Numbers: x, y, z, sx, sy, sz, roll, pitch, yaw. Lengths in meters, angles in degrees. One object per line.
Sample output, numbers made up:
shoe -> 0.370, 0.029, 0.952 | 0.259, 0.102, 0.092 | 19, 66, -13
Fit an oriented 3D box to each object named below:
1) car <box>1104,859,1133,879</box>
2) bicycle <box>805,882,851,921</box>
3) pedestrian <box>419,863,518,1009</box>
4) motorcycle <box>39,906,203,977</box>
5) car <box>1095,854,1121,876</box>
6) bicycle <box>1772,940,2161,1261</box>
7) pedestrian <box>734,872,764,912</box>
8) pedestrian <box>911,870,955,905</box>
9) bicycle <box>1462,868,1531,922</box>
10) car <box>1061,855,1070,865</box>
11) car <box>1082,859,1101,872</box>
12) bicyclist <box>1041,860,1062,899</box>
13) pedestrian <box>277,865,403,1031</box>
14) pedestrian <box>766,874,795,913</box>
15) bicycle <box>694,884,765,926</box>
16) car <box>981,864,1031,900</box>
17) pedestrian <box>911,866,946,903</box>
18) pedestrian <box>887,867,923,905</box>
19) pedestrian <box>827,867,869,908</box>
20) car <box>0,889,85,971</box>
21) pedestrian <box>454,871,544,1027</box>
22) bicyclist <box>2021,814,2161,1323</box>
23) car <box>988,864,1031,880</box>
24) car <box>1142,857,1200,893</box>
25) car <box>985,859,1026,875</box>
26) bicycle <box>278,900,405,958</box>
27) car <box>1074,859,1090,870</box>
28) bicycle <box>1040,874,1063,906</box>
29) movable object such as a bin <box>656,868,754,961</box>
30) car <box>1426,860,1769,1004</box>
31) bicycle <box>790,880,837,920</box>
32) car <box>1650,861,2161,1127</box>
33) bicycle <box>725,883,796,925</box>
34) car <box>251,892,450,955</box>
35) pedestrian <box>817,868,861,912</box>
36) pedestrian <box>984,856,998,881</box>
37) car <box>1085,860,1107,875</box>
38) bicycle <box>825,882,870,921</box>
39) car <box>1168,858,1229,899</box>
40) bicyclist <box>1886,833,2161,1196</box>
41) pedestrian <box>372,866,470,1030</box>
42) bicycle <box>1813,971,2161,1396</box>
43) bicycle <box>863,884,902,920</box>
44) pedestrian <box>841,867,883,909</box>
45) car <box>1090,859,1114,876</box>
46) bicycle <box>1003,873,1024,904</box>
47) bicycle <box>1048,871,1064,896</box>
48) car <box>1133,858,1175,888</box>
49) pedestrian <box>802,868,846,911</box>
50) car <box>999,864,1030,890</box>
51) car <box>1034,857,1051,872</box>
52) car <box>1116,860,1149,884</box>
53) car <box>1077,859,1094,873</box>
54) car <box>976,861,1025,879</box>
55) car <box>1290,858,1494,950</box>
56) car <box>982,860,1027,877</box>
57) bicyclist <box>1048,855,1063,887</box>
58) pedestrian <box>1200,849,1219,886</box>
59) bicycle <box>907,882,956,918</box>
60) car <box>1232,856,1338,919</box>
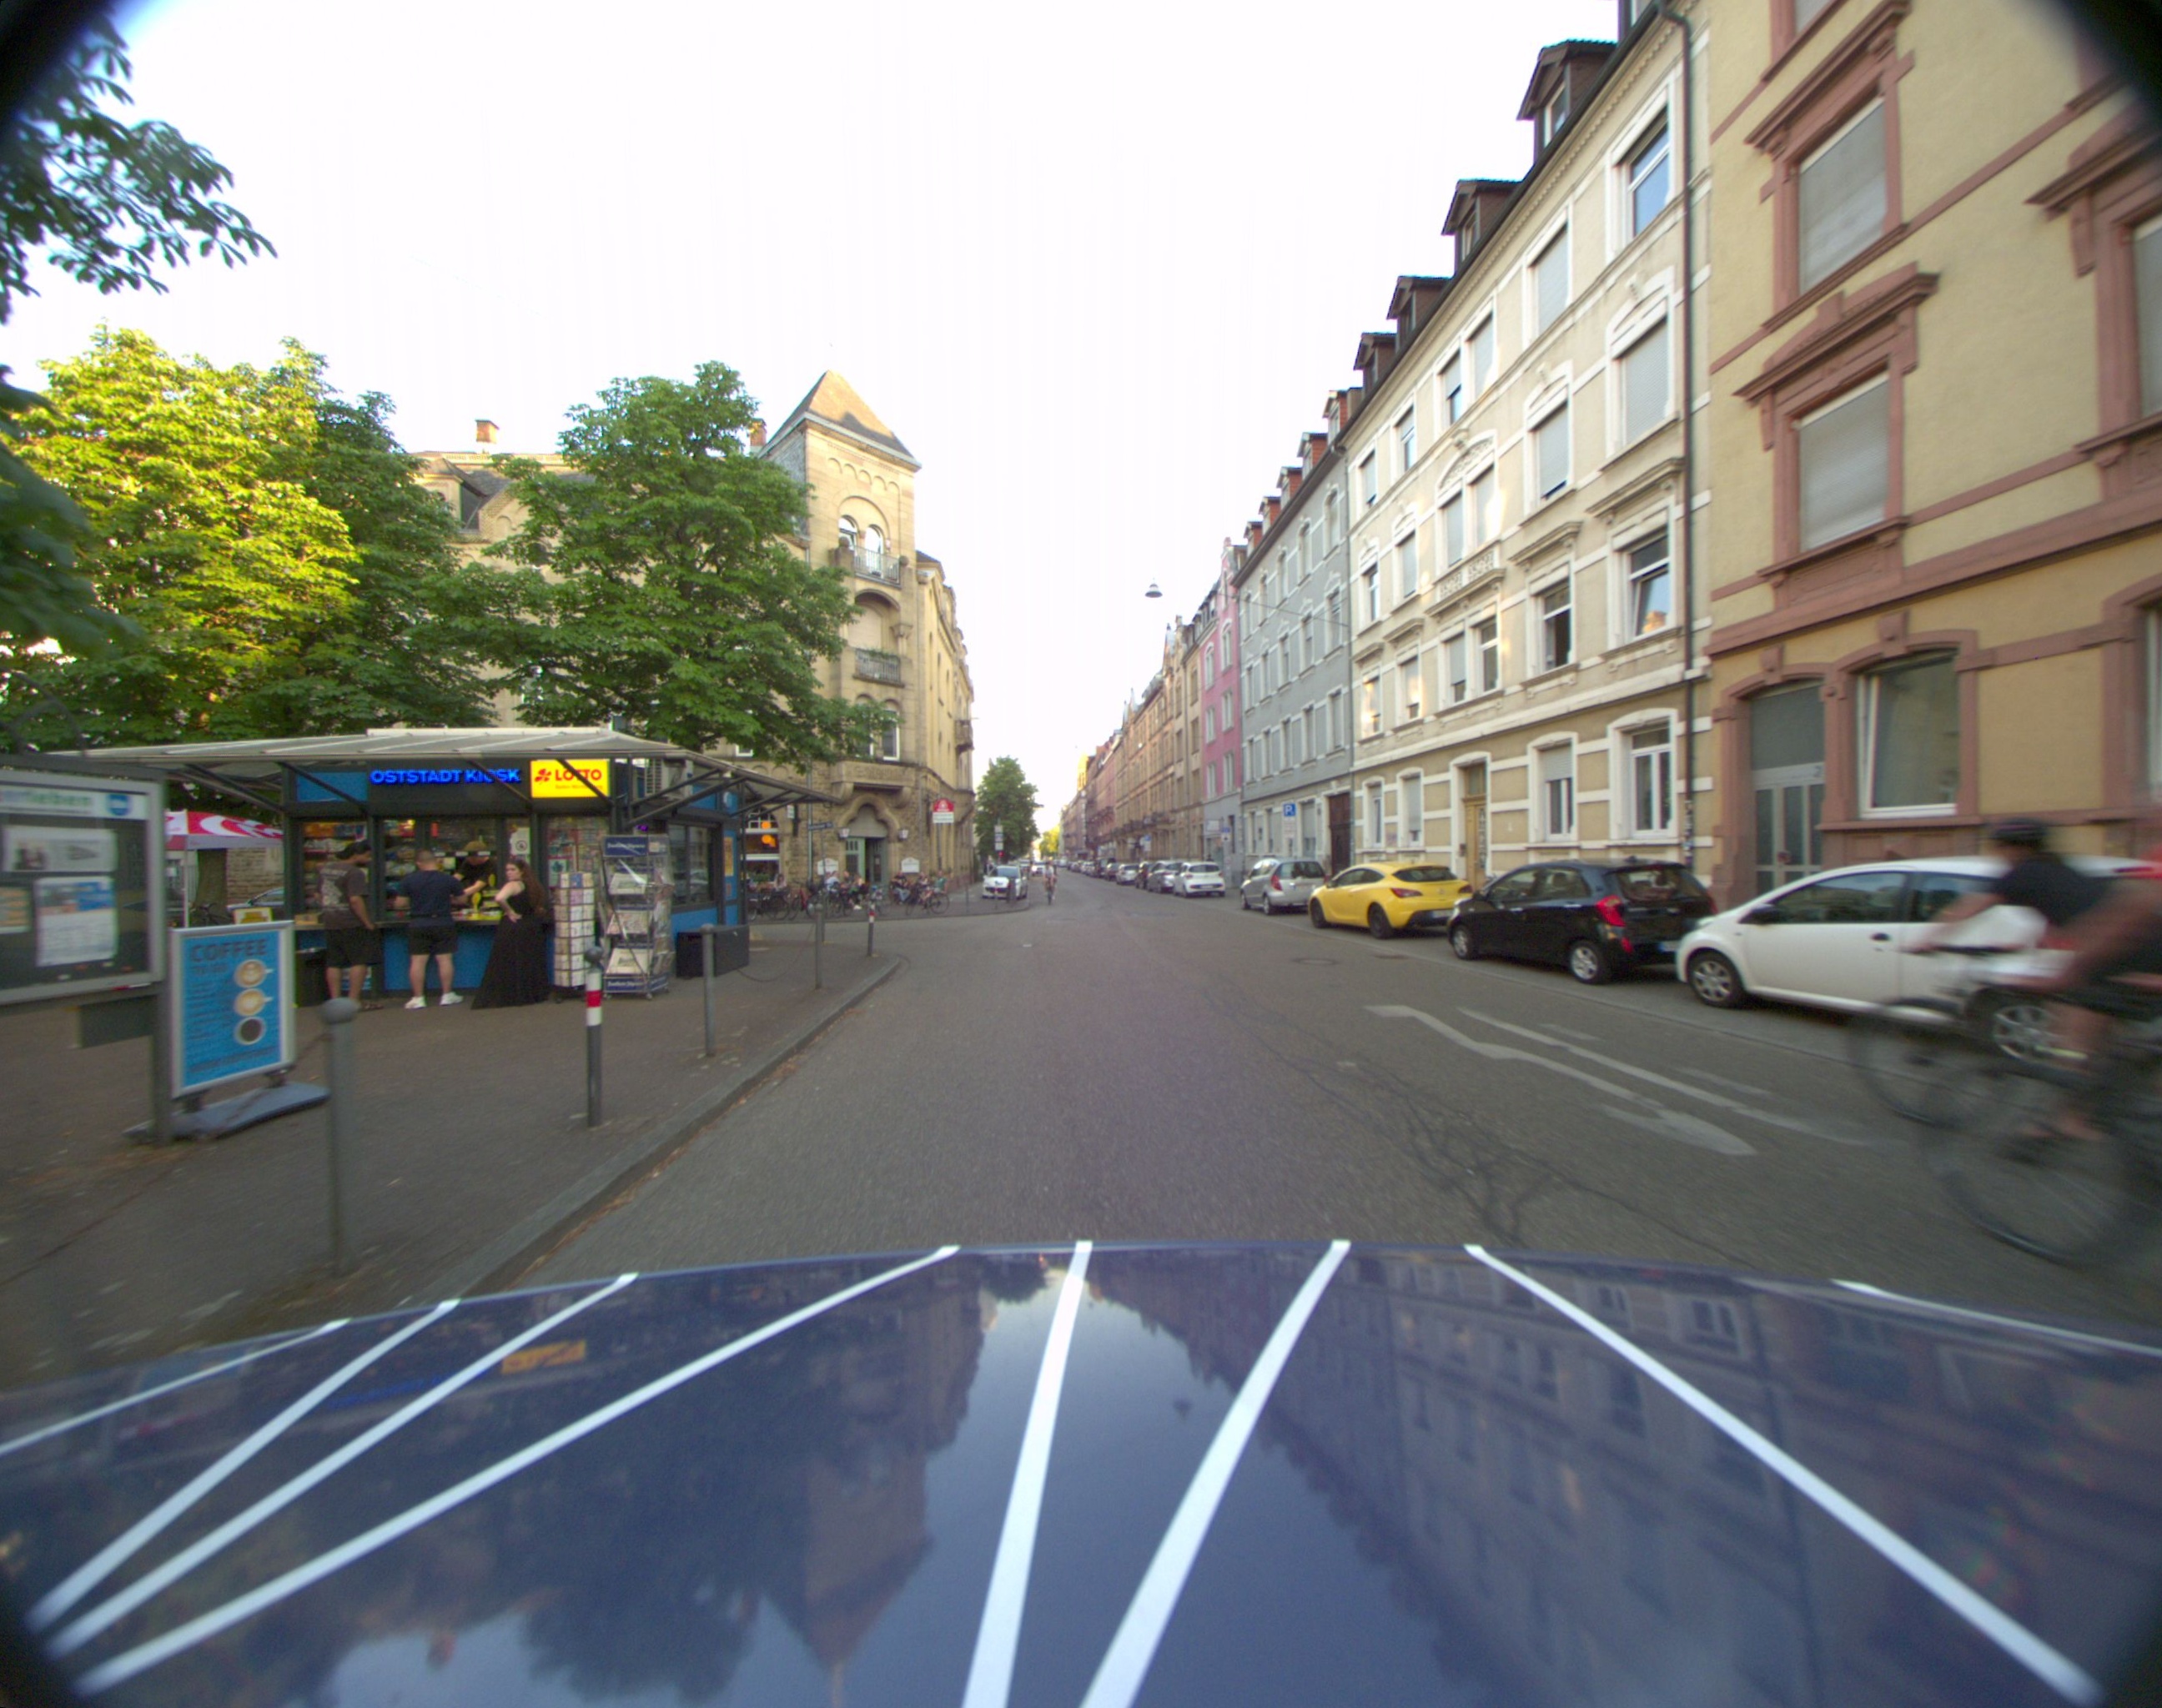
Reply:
car -> 3.091, 1.221, 62.797 | 1.758, 1.466, 4.278 | -7, 0, -4
bicycle -> -7.583, 1.414, 22.827 | 0.475, 1.064, 1.836 | -1, 0, 10
pedestrian -> -7.174, 0.933, 8.927 | 0.678, 1.627, 0.590 | -1, 1, -11
motorcycle -> -15.622, 1.419, 12.388 | 1.832, 1.048, 0.579 | -1, 1, -2
car -> 2.543, 1.059, 72.339 | 1.874, 1.949, 4.291 | -4, 0, -5
bicycle -> 4.672, 1.085, 3.690 | 0.723, 1.100, 2.014 | -1, 0, -3
pedestrian -> -11.258, 1.276, 25.808 | 0.731, 1.313, 0.667 | -1, 0, -7
pedestrian -> -5.585, 1.245, 28.732 | 0.839, 1.278, 1.422 | 1, 0, 44
bicycle -> 9.471, 0.904, 17.390 | 0.481, 1.133, 1.863 | -1, 0, -2
car -> -3.889, 1.455, 187.758 | 1.758, 2.264, 4.056 | -7, 0, -3
car -> 1.284, 1.398, 94.103 | 1.758, 1.426, 4.055 | -7, 0, -6
bicyclist -> -1.166, 1.006, 30.241 | 0.686, 1.503, 0.973 | -1, 0, 3
pedestrian -> -7.626, 0.942, 7.849 | 0.678, 1.627, 0.590 | -1, 1, -4
pedestrian -> -10.145, 1.318, 25.691 | 0.706, 1.275, 0.877 | -1, 0, -8
bicycle -> -10.381, 1.494, 22.495 | 1.836, 1.154, 0.538 | -1, 0, -17
car -> -3.353, 1.226, 34.732 | 1.768, 1.475, 4.464 | 2, -1, 1
pedestrian -> -5.894, 1.177, 29.462 | 0.839, 1.388, 1.106 | 1, -1, 23
pedestrian -> -6.623, 1.202, 28.544 | 1.009, 1.388, 0.899 | -1, -2, 44
pedestrian -> -8.276, 1.168, 27.029 | 0.839, 1.389, 1.106 | 0, 2, 37
car -> -21.967, 1.511, 14.243 | 3.905, 1.475, 1.826 | -2, 0, -4
pedestrian -> -6.076, 0.950, 7.962 | 0.679, 1.530, 0.589 | -1, 1, -34
bicyclist -> 3.541, 0.634, 2.160 | 0.654, 1.517, 0.867 | -1, 0, -3
car -> -7.150, 1.793, 76.262 | 4.302, 1.519, 1.822 | -1, 0, -4
car -> 4.452, 1.023, 38.128 | 1.838, 1.583, 4.670 | -3, 0, -6
car -> -8.030, 1.370, 81.555 | 4.302, 1.666, 1.822 | -1, 0, -4
bicycle -> -13.825, 1.387, 14.237 | 1.738, 0.990, 0.579 | -1, 1, -2
car -> 0.147, 1.507, 110.386 | 1.758, 1.426, 4.055 | -7, 0, -6
bicycle -> -1.165, 1.401, 30.121 | 0.686, 1.144, 2.116 | -1, 0, 3
movable object such as a bin -> -6.301, 0.987, 12.770 | 1.224, 1.467, 0.766 | 2, 0, 6
car -> 6.562, 0.863, 10.226 | 1.734, 1.482, 3.740 | -3, 0, -7
bicycle -> -8.084, 1.381, 23.039 | 0.502, 1.105, 1.836 | -1, 0, 10
car -> 7.062, 0.847, 6.366 | 1.689, 1.482, 3.612 | -3, 0, -4
bicycle -> -9.350, 1.446, 22.195 | 1.836, 1.144, 0.557 | -1, 0, -17
car -> -21.013, 1.975, 21.970 | 3.904, 1.475, 1.826 | -2, 0, -1
pedestrian -> -8.241, 1.204, 25.858 | 0.839, 1.389, 1.106 | 0, 2, 38
pedestrian -> -6.357, 1.039, 53.750 | 0.851, 1.756, 0.833 | 0, 0, 0
car -> 1.676, 1.526, 85.062 | 1.758, 1.466, 4.055 | -7, 0, -6
bicycle -> -7.049, 1.419, 23.055 | 0.513, 1.060, 1.836 | -1, 0, 10
car -> 5.029, 1.004, 32.994 | 1.758, 1.566, 3.926 | -3, 0, -3
bicyclist -> 4.668, 0.669, 3.629 | 0.715, 1.517, 0.867 | -1, 0, -2
pedestrian -> -6.950, 0.946, 8.035 | 0.679, 1.627, 0.589 | -1, 1, -34
bicycle -> 3.542, 1.062, 2.295 | 0.651, 1.100, 2.014 | -1, 0, -3
bicycle -> -5.982, 1.443, 23.009 | 0.447, 0.974, 1.707 | -1, 0, 10
pedestrian -> -7.670, 1.176, 26.603 | 0.839, 1.389, 1.106 | 0, 2, 37
car -> 2.087, 1.388, 77.478 | 1.758, 1.466, 4.055 | -7, 0, -6
bicycle -> -2.686, 1.347, 30.465 | 0.686, 1.144, 2.115 | 2, -1, -2
bicycle -> -1.240, 1.416, 37.202 | 0.686, 1.144, 2.114 | -1, 0, -3
car -> 4.218, 1.064, 44.342 | 1.758, 1.583, 4.056 | -3, 0, -3
pedestrian -> -8.873, 1.209, 26.231 | 0.839, 1.389, 1.106 | 0, 2, 38
car -> -3.947, 1.336, 45.532 | 1.769, 1.476, 4.555 | 0, 0, -4
car -> -4.637, 1.259, 90.897 | 1.957, 1.729, 4.283 | -3, 0, -4
car -> 3.597, 1.242, 53.740 | 1.758, 1.466, 4.056 | -7, 0, -2
car -> 0.626, 1.658, 104.394 | 1.758, 1.663, 4.055 | -7, 0, -6
car -> -7.130, 1.395, 67.653 | 4.302, 1.443, 1.822 | -1, 0, -4
car -> 6.172, 0.906, 15.821 | 1.844, 1.517, 4.799 | -3, 0, -6
car -> -7.385, 1.393, 73.847 | 4.302, 1.519, 1.822 | -1, 0, -4
bicyclist -> -1.254, 0.824, 37.240 | 0.686, 1.503, 0.973 | -1, 0, -3
pedestrian -> 6.845, 0.723, 40.386 | 0.851, 1.937, 0.833 | -1, 0, 0
bicycle -> -4.657, 1.420, 23.696 | 1.478, 1.033, 0.431 | -1, 1, -44
car -> 5.822, 0.900, 22.261 | 1.805, 1.583, 4.144 | -3, 0, -2
